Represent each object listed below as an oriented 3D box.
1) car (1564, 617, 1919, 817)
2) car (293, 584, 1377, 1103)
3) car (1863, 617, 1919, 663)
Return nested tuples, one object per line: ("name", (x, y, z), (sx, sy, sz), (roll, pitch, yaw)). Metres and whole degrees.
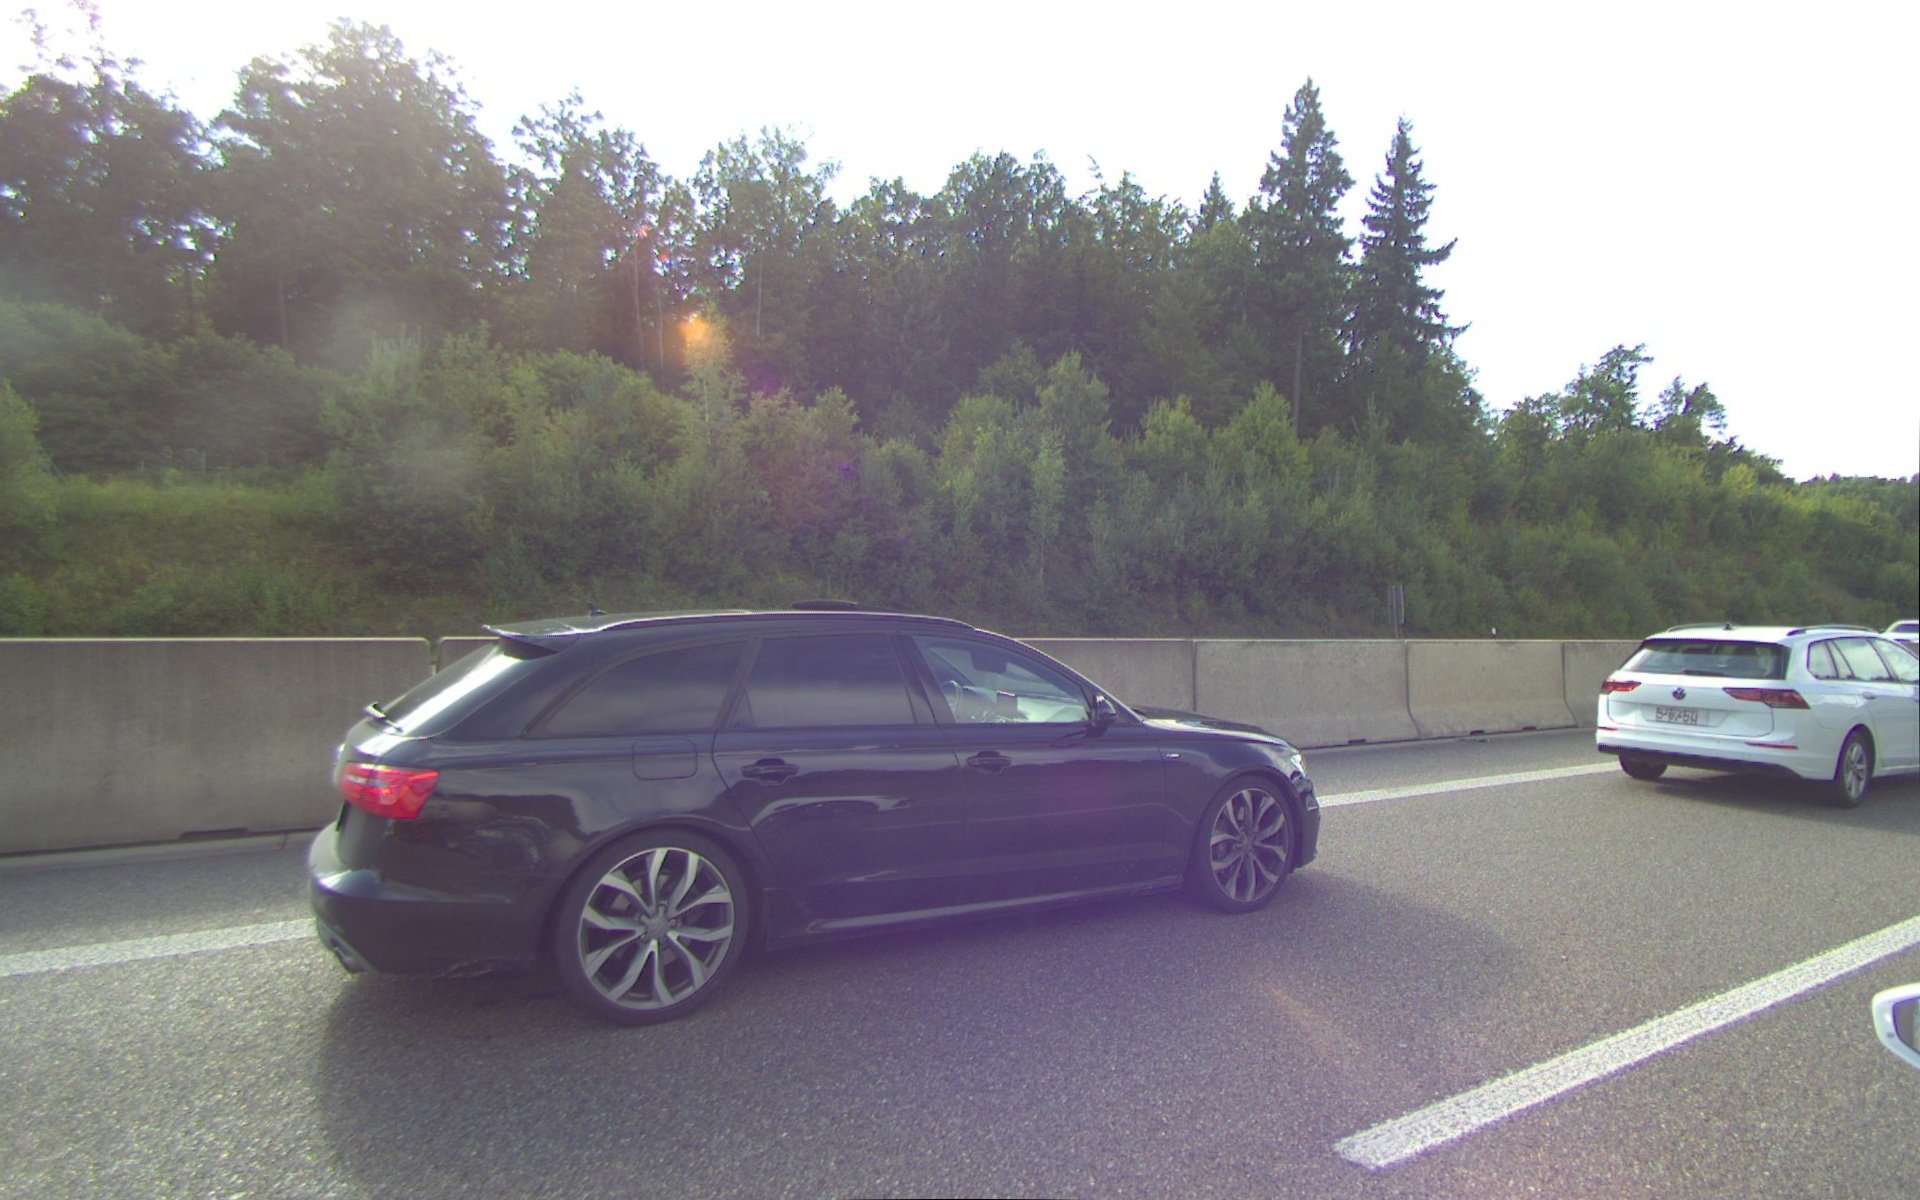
("car", (7.802, 0.957, 9.432), (4.257, 1.480, 1.796), (2, -1, -30))
("car", (-0.309, 0.734, 4.844), (4.692, 1.475, 1.834), (1, 0, -30))
("car", (41.076, 1.703, 43.294), (4.868, 1.834, 1.843), (1, 0, -31))
